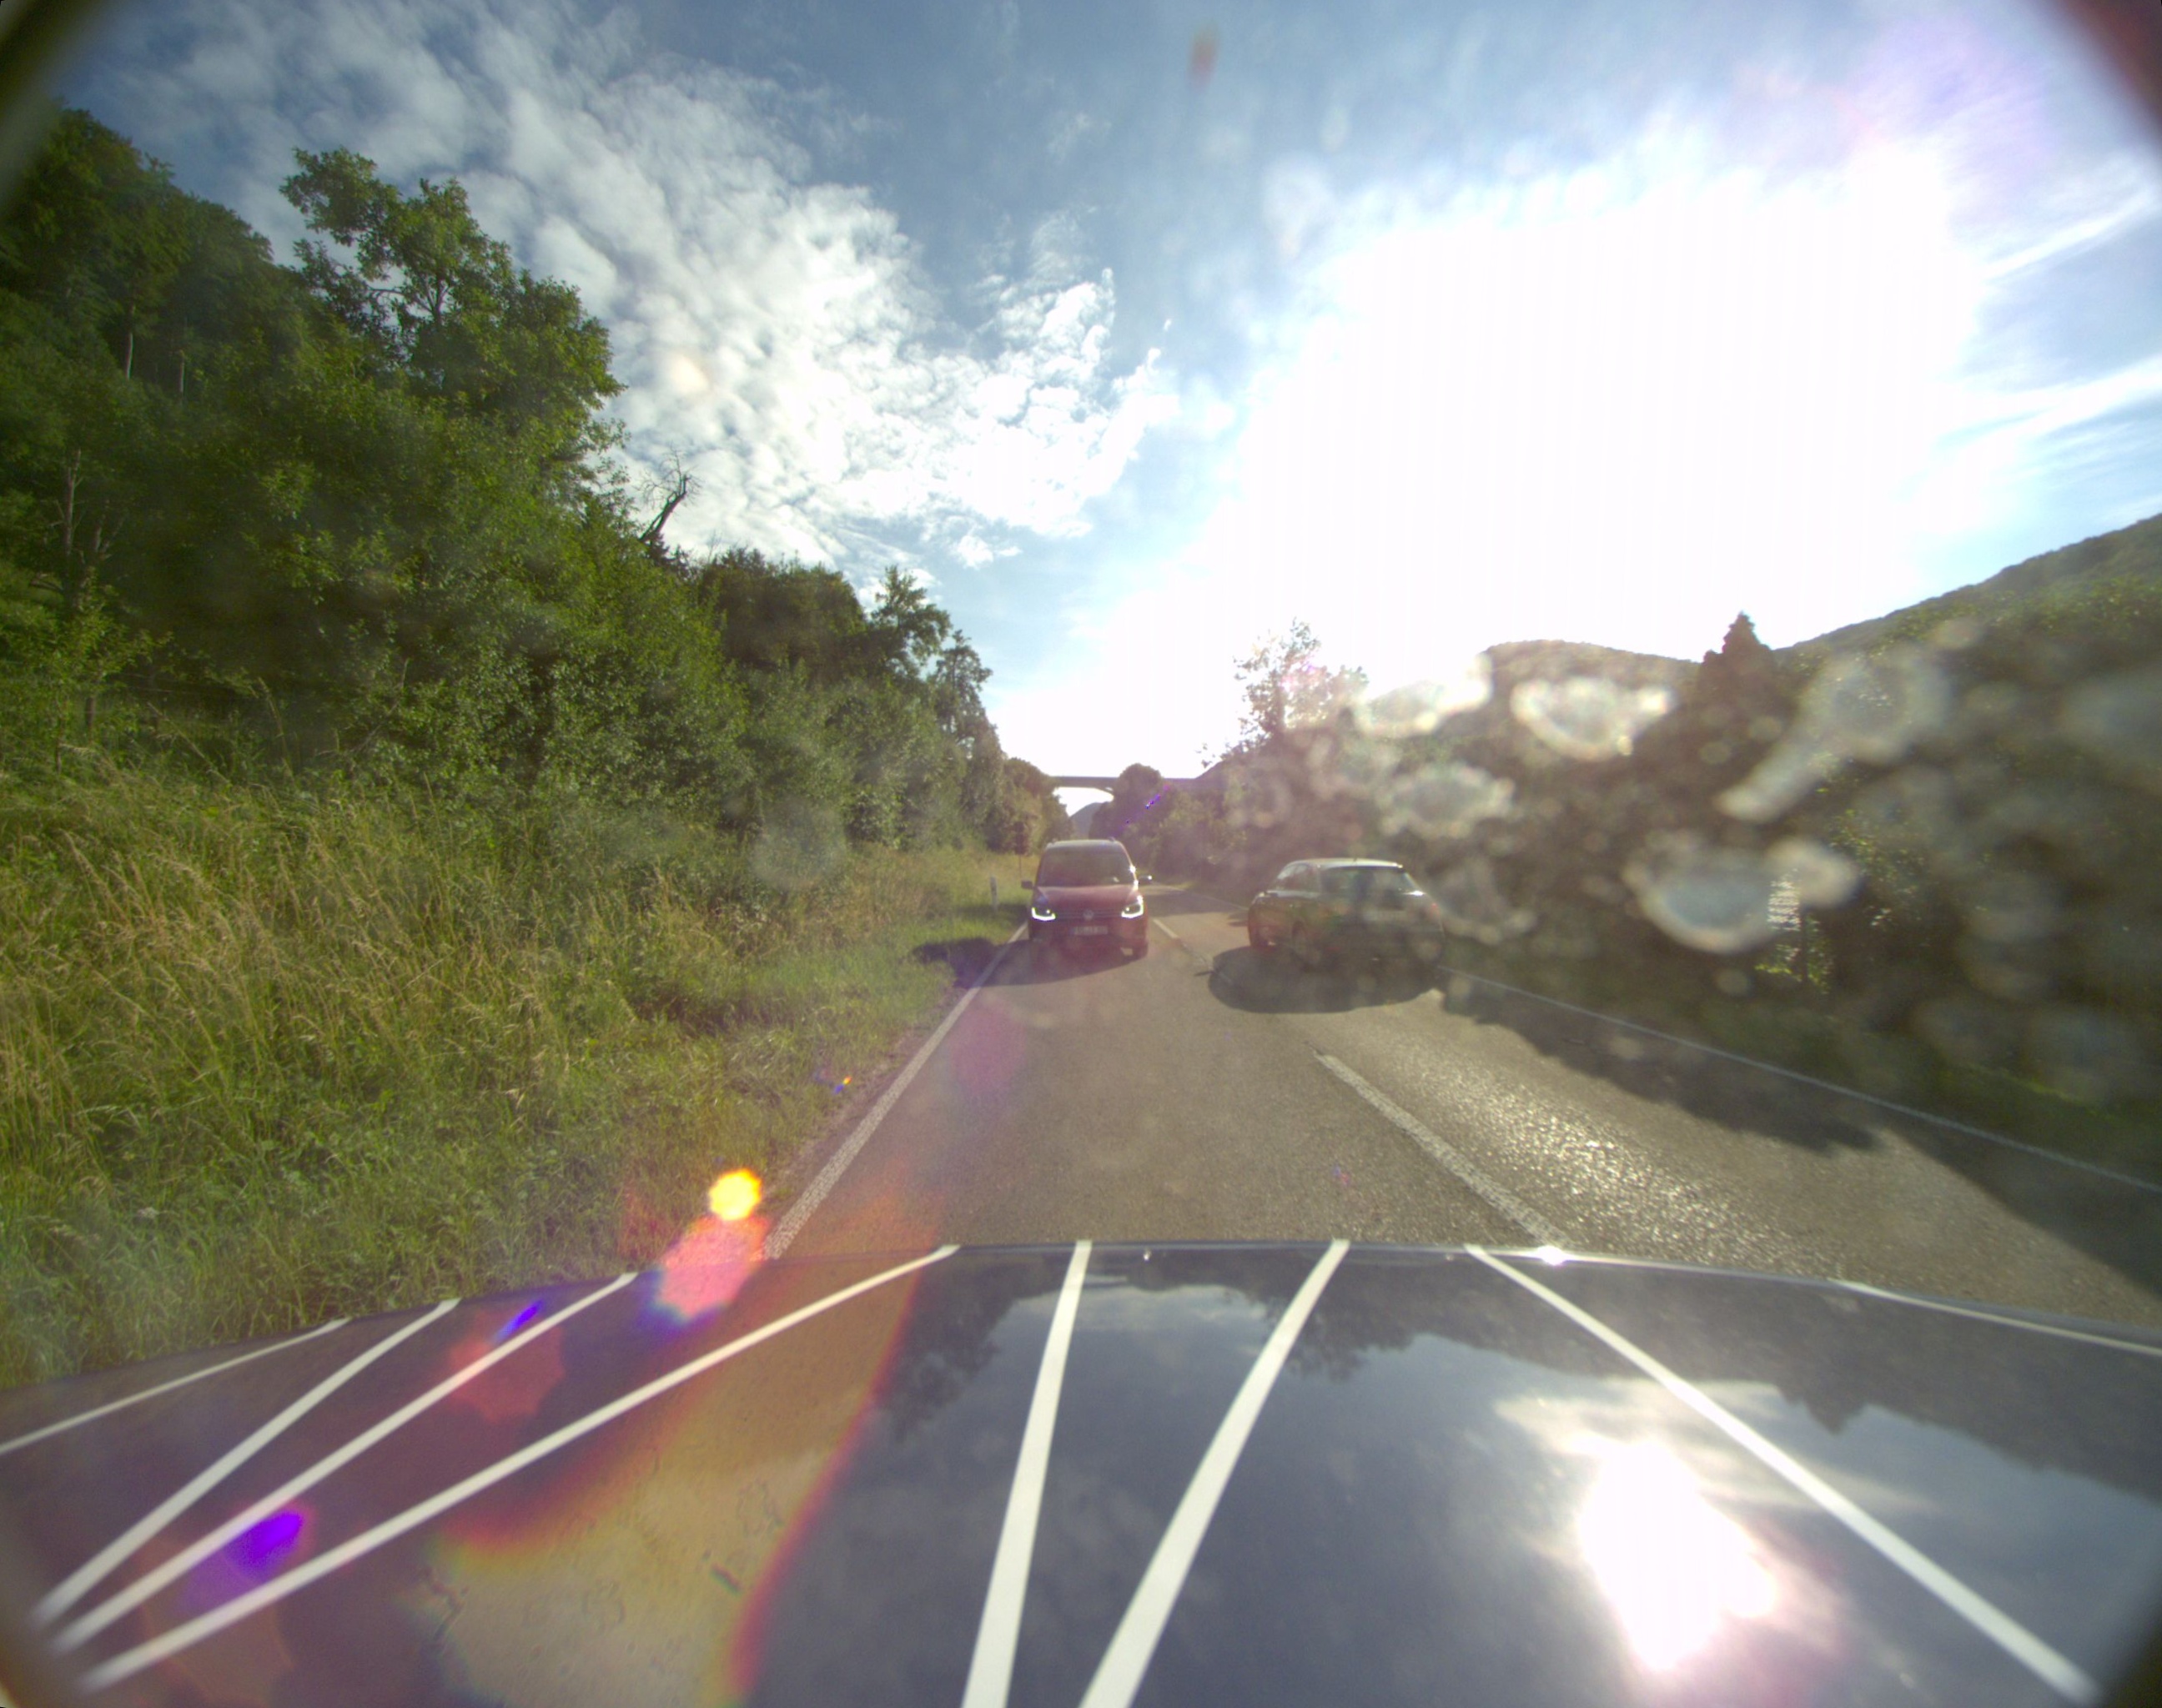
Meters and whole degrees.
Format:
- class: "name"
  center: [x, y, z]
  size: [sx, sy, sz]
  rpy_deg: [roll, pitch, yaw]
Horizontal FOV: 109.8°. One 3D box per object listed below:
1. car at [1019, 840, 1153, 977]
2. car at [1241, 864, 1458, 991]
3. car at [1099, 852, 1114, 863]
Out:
- class: "car"
  center: [0.078, 0.723, 12.535]
  size: [1.753, 1.800, 4.287]
  rpy_deg: [-2, 1, 0]
- class: "car"
  center: [3.450, 0.859, 10.529]
  size: [1.631, 1.407, 3.789]
  rpy_deg: [0, 0, -1]
- class: "car"
  center: [3.189, 0.429, 96.836]
  size: [1.632, 1.407, 3.788]
  rpy_deg: [0, 1, -2]
